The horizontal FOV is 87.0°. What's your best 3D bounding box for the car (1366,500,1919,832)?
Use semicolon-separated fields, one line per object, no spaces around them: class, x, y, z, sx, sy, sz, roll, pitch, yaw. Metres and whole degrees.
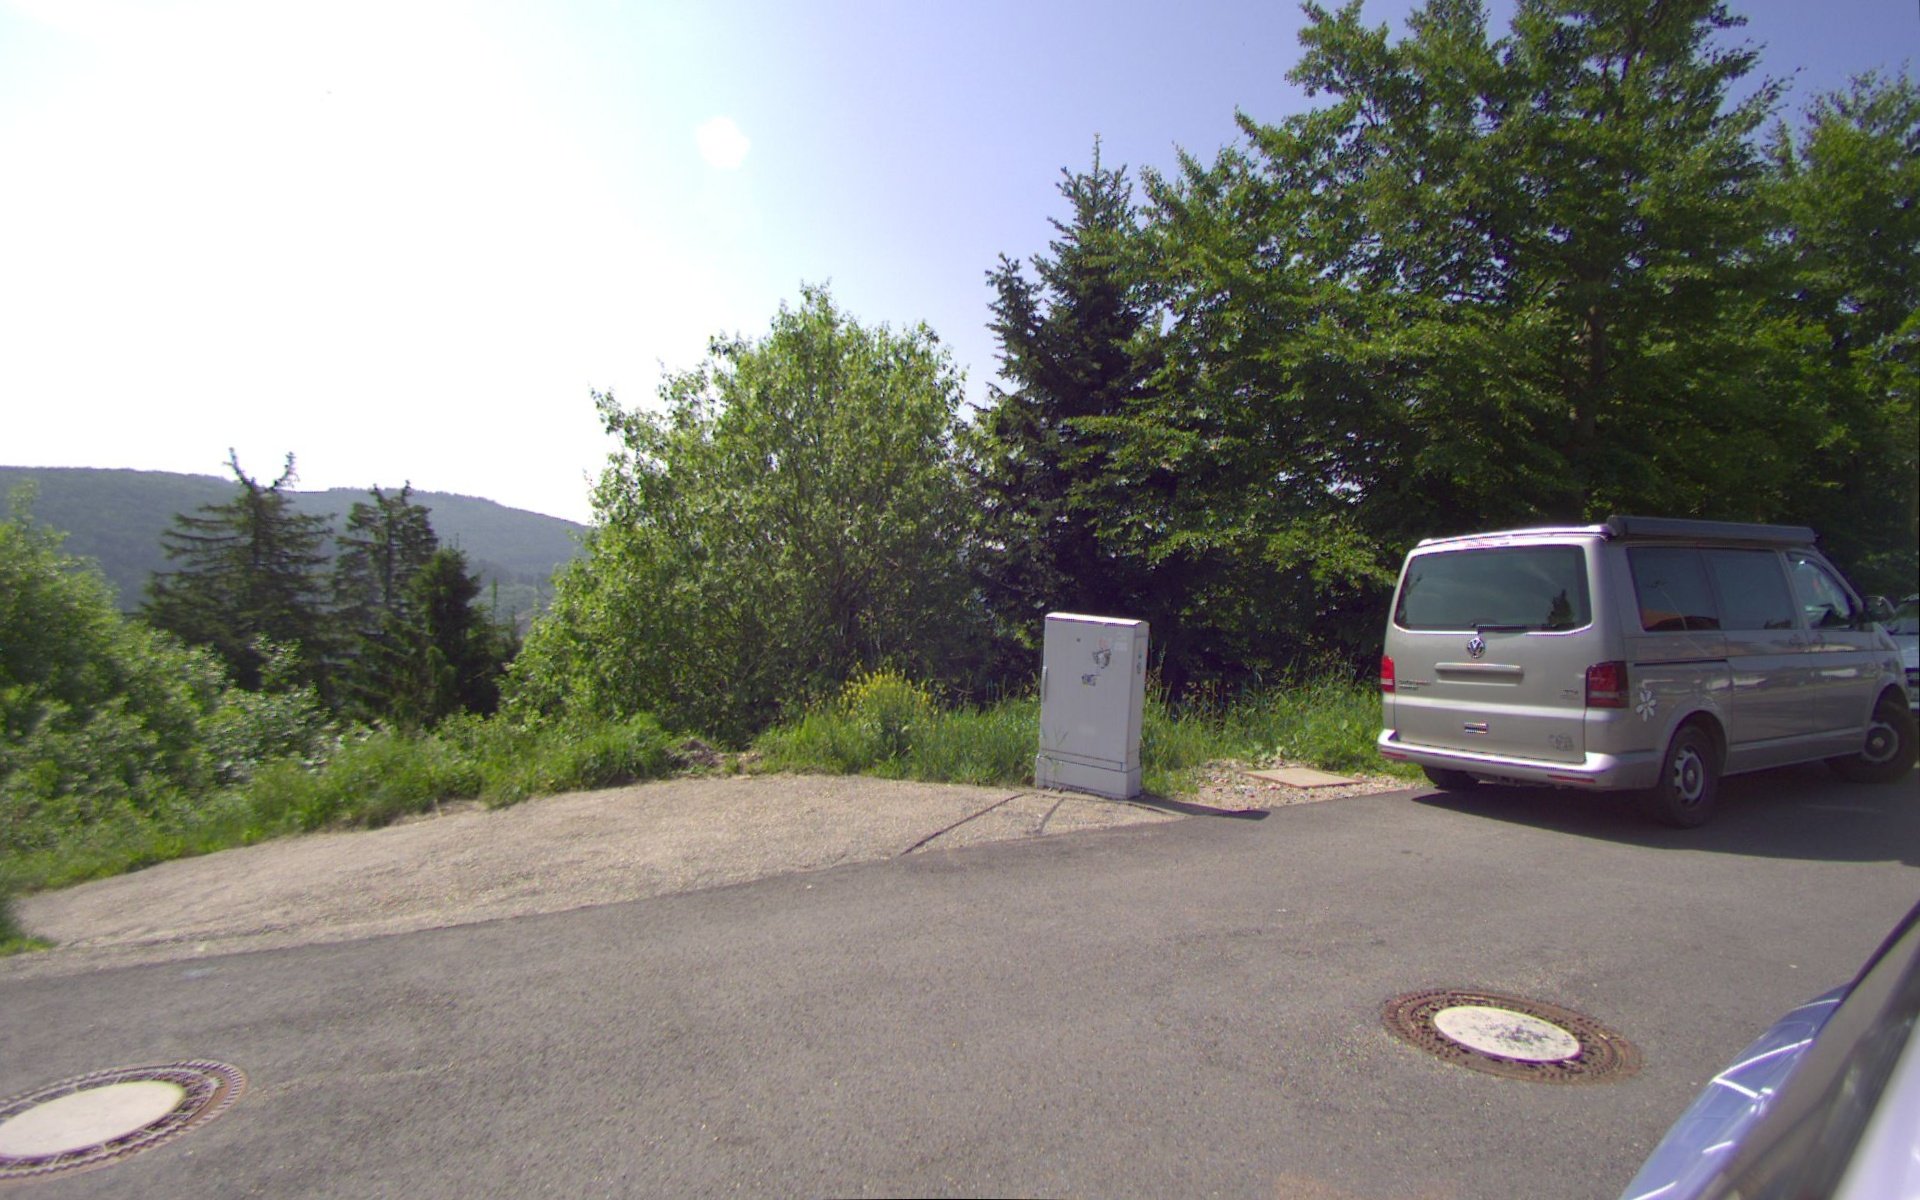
car;5.507;0.398;7.867;4.515;1.960;1.865;0;-1;-28

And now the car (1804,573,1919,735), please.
car;10.973;0.515;10.781;3.921;1.567;1.877;0;-1;-32
